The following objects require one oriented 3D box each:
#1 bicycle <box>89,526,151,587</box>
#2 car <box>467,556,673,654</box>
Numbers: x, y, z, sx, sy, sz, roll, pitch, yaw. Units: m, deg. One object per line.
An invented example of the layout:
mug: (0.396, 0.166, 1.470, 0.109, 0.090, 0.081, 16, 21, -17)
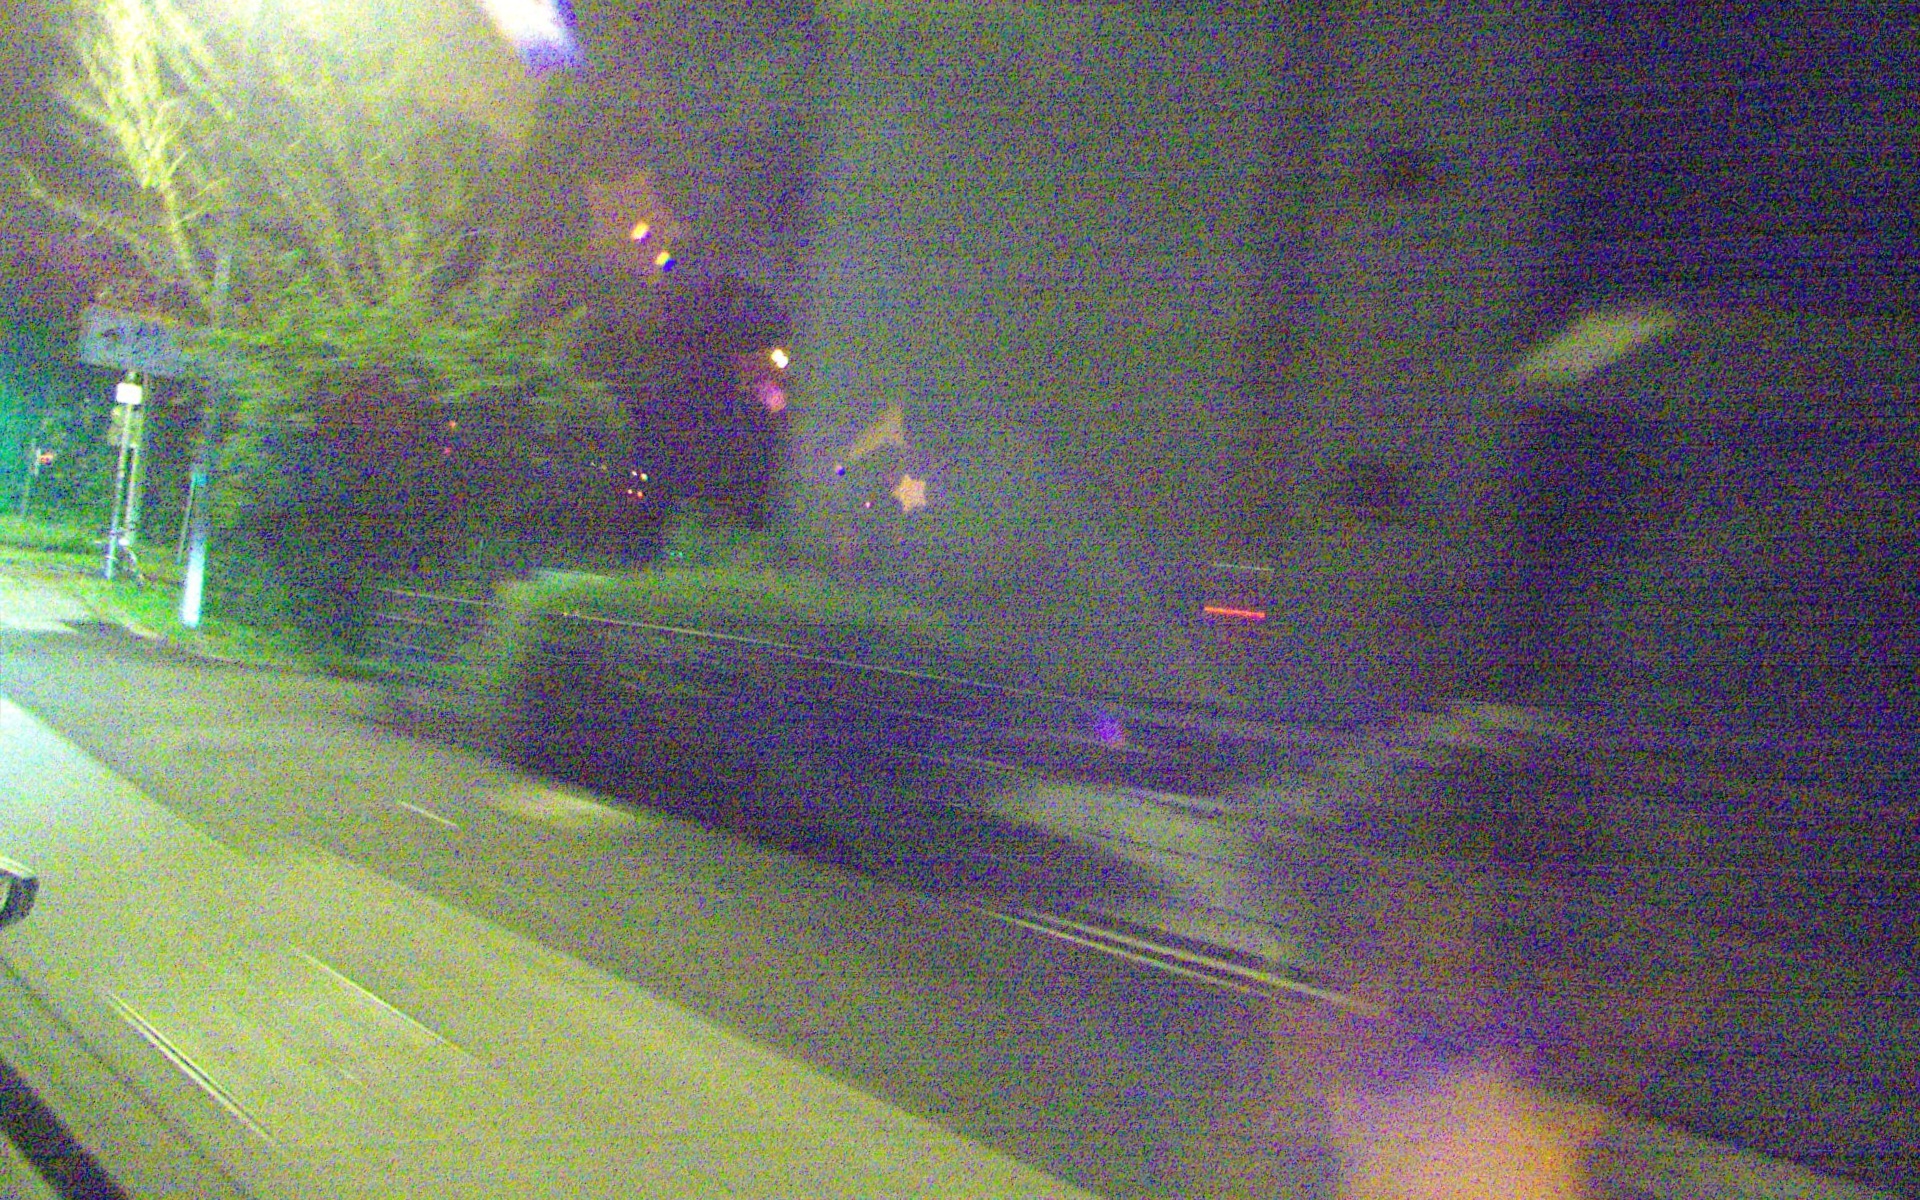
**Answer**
bicycle: (-14.585, -0.761, 17.455, 1.915, 0.993, 0.295, 3, -2, 36)
car: (-8.164, 0.134, 21.169, 3.524, 1.522, 1.710, 8, -1, 12)
